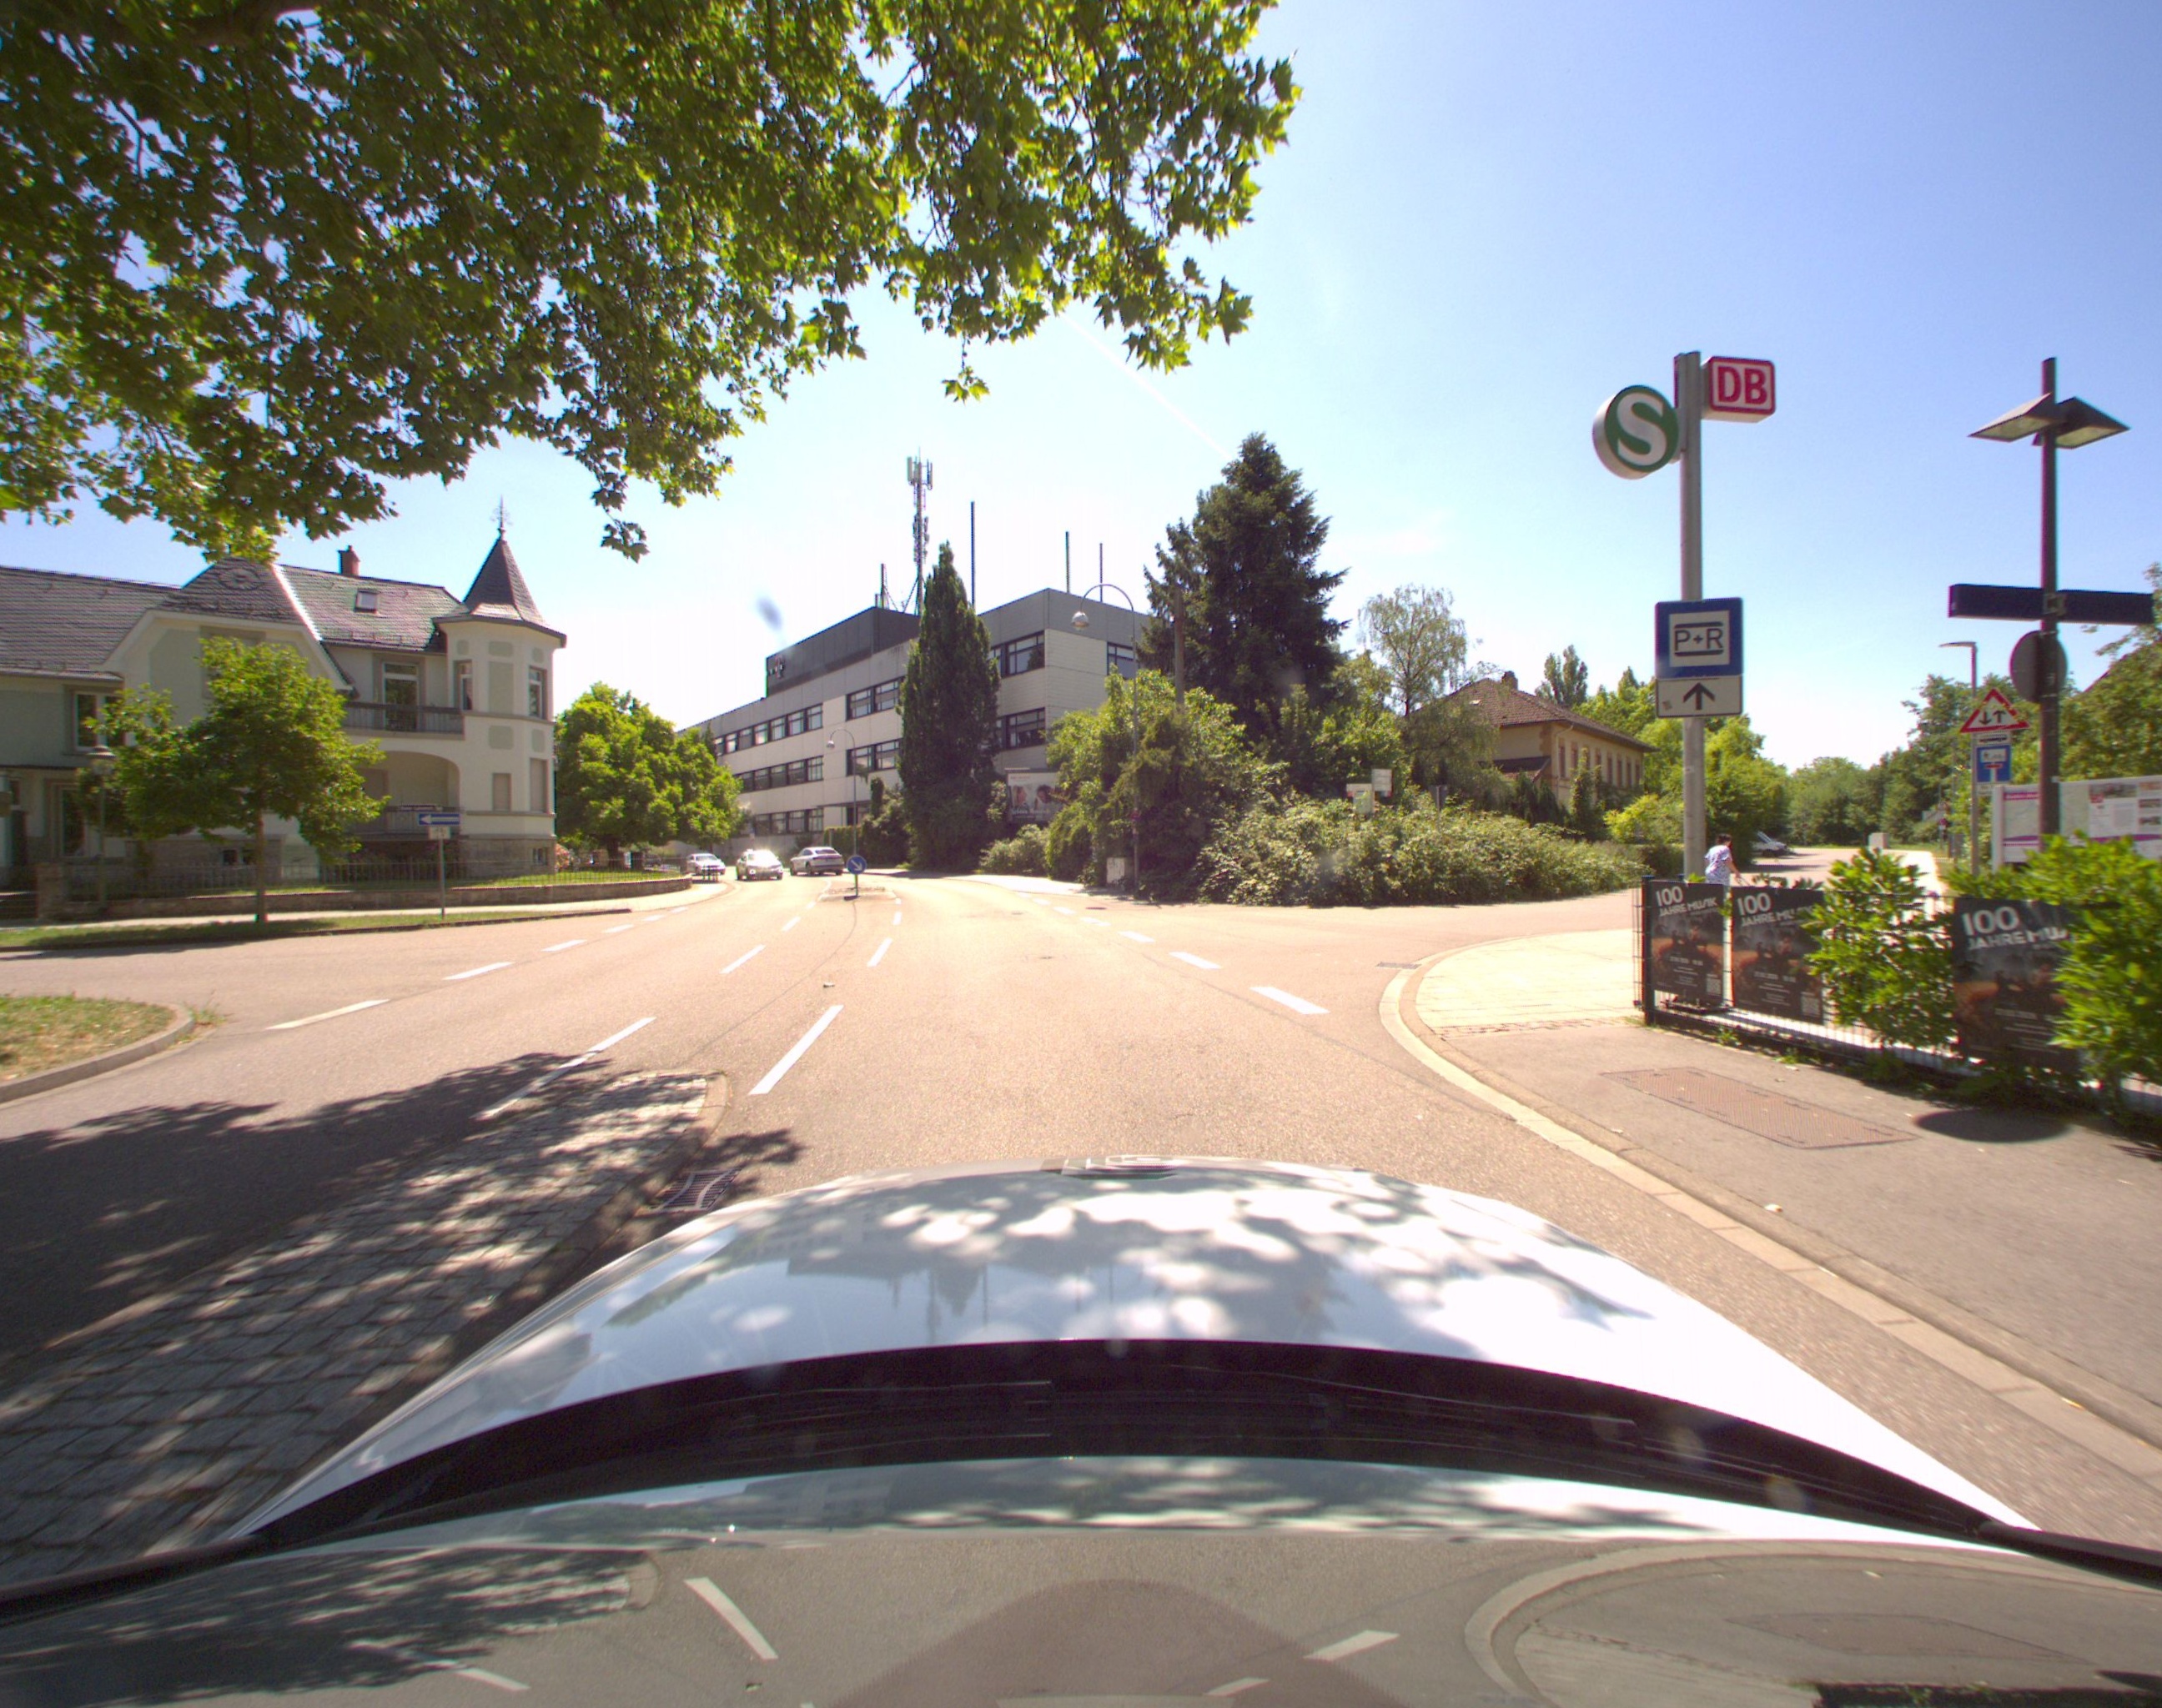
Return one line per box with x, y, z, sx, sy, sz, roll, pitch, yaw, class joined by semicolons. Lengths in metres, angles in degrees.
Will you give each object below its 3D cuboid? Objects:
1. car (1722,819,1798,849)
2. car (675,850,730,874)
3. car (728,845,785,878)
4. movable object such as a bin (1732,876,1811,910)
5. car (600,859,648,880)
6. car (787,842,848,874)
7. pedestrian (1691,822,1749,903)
55.250;-1.618;66.304;2.213;2.322;4.407;-2;1;-40;car
-25.120;0.561;54.030;4.249;1.435;1.775;-1;2;43;car
-17.618;0.356;44.102;1.886;1.623;4.258;-2;2;-35;car
13.432;0.748;15.840;1.239;0.594;0.515;-1;1;-11;movable object such as a bin
-32.331;1.096;57.523;1.942;1.436;4.603;2;-1;-42;car
-15.347;0.203;47.272;1.951;1.614;4.422;-5;4;-36;car
13.192;0.159;16.818;0.615;1.627;0.698;-1;2;-10;pedestrian
